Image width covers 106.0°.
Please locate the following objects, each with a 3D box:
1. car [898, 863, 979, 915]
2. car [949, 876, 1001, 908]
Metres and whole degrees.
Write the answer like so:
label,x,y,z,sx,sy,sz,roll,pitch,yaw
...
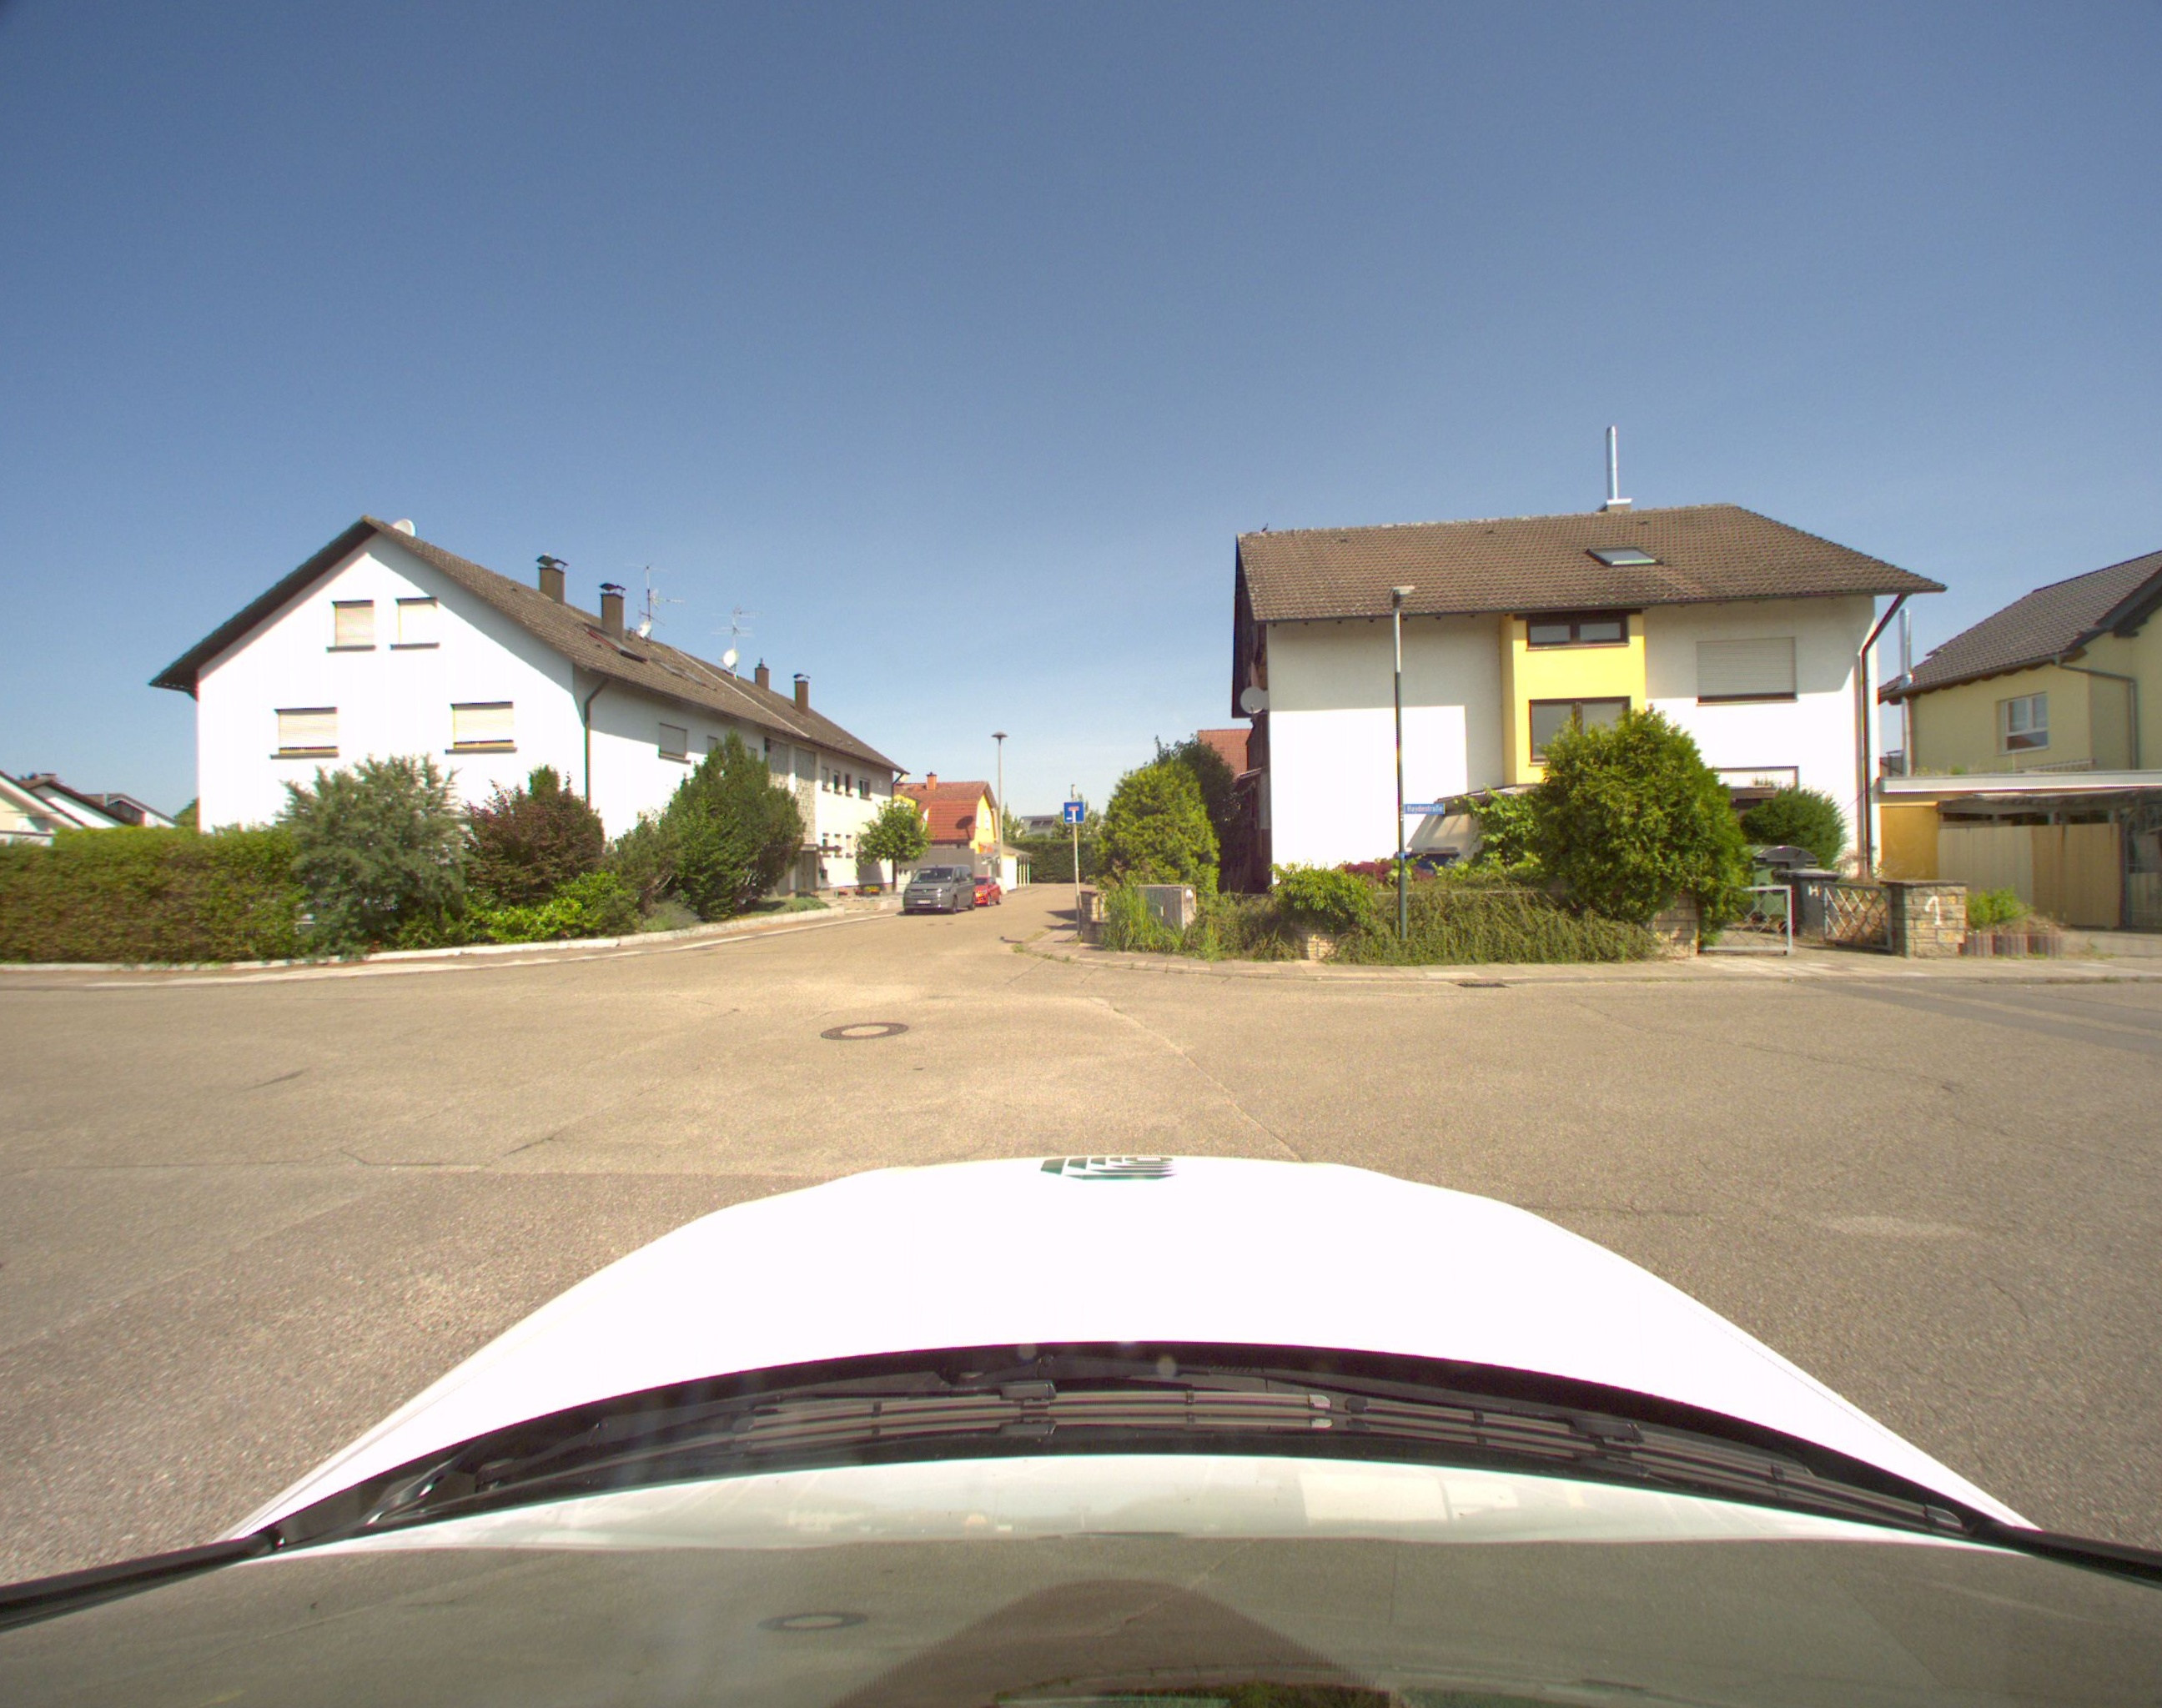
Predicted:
label,x,y,z,sx,sy,sz,roll,pitch,yaw
car,-5.521,1.302,32.146,1.890,1.870,4.380,-1,-1,8
car,-4.966,1.763,38.616,1.644,1.365,3.784,-1,-1,5
